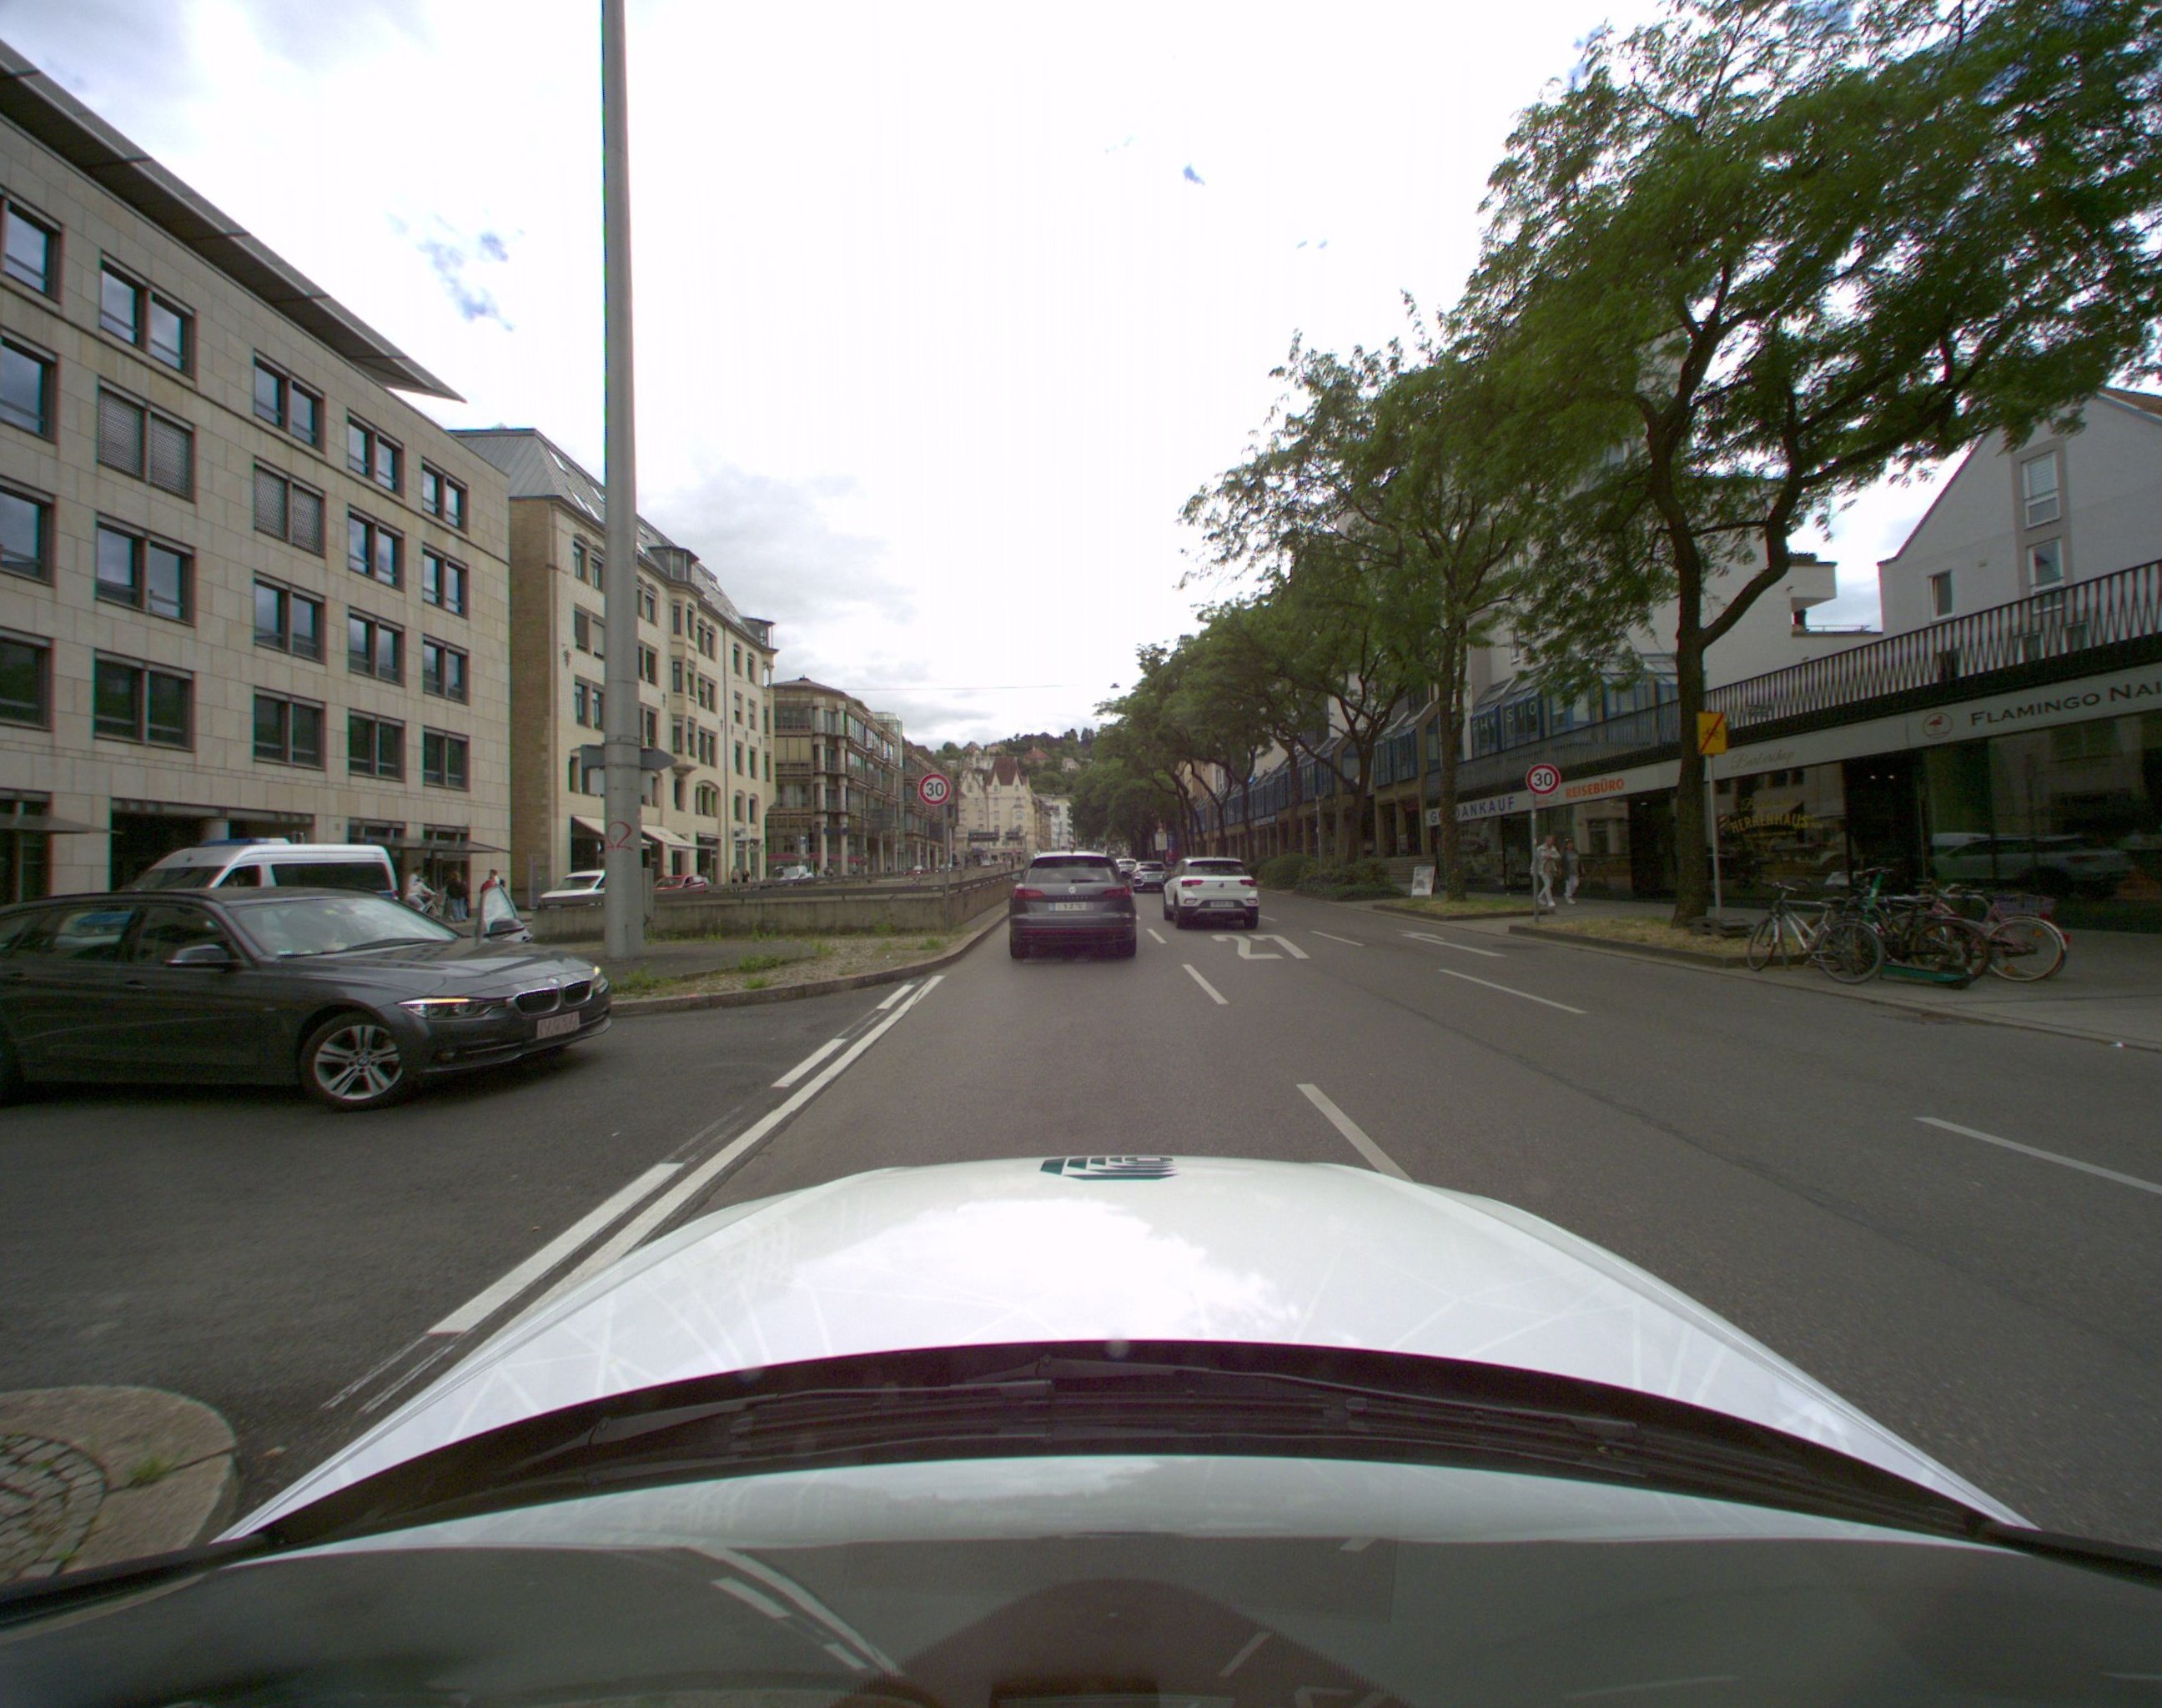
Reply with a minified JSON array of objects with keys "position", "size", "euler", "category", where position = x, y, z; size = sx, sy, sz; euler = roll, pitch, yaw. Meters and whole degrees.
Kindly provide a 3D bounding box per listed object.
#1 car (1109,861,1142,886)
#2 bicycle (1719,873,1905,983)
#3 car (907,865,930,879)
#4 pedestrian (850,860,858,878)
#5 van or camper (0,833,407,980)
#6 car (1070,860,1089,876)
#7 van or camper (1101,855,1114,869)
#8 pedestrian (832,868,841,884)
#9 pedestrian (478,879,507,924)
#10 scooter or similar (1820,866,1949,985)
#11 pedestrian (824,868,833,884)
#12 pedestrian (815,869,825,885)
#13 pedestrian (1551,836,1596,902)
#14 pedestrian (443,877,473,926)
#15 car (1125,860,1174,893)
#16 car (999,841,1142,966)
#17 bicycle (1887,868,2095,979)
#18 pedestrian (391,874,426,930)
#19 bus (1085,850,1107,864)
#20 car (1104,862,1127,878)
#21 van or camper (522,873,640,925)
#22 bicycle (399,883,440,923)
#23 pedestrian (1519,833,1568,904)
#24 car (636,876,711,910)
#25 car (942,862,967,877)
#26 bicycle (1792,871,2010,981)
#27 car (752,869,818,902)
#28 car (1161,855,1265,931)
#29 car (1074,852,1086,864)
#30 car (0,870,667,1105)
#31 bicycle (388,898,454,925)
[{"position":[2.825,1.232,52.435],"size":[1.826,1.517,3.766],"euler":[-2,-1,0],"category":"car"},{"position":[8.533,0.807,9.625],"size":[0.488,1.132,1.843],"euler":[-2,-1,-1],"category":"bicycle"},{"position":[-18.686,2.048,93.973],"size":[1.990,1.464,4.878],"euler":[-2,0,-4],"category":"car"},{"position":[-23.704,1.564,84.995],"size":[0.530,1.793,0.694],"euler":[3,-1,0],"category":"pedestrian"},{"position":[-19.642,1.032,18.751],"size":[2.992,2.726,6.245],"euler":[-2,0,0],"category":"van or camper"},{"position":[-0.182,1.488,88.506],"size":[1.827,1.567,3.763],"euler":[-3,-1,-2],"category":"car"},{"position":[5.964,1.852,186.799],"size":[2.620,3.178,5.800],"euler":[-2,0,-1],"category":"van or camper"},{"position":[-24.364,2.179,81.047],"size":[0.699,1.544,0.844],"euler":[-2,-1,-8],"category":"pedestrian"},{"position":[-21.573,1.732,29.871],"size":[0.550,1.577,0.680],"euler":[-2,-1,-2],"category":"pedestrian"},{"position":[9.055,0.770,9.212],"size":[0.306,1.251,0.992],"euler":[-2,-1,-13],"category":"scooter or similar"},{"position":[-25.118,2.209,80.924],"size":[0.699,1.544,0.844],"euler":[-2,-1,-8],"category":"pedestrian"},{"position":[-25.880,2.245,80.761],"size":[0.699,1.544,0.844],"euler":[-2,-1,-8],"category":"pedestrian"},{"position":[12.633,0.387,20.923],"size":[0.595,1.629,0.756],"euler":[-3,-1,-6],"category":"pedestrian"},{"position":[-22.895,1.729,29.937],"size":[0.550,1.753,0.680],"euler":[-2,-1,-2],"category":"pedestrian"},{"position":[3.169,1.036,38.298],"size":[1.828,1.432,4.144],"euler":[-1,0,-2],"category":"car"},{"position":[-0.162,0.719,13.820],"size":[1.964,1.695,4.223],"euler":[-3,0,-1],"category":"car"},{"position":[10.390,0.741,9.395],"size":[0.488,1.132,1.688],"euler":[-2,-1,1],"category":"bicycle"},{"position":[-23.250,1.657,28.177],"size":[0.614,1.875,0.680],"euler":[-2,-1,-2],"category":"pedestrian"},{"position":[4.141,0.884,218.772],"size":[3.829,3.532,17.281],"euler":[-2,0,7],"category":"bus"},{"position":[3.115,1.418,74.338],"size":[1.827,1.363,3.765],"euler":[-3,-1,-1],"category":"car"},{"position":[-19.302,1.688,31.693],"size":[1.862,1.751,4.484],"euler":[-2,0,-1],"category":"van or camper"},{"position":[-21.696,1.591,26.713],"size":[0.630,1.260,0.844],"euler":[-2,-1,-4],"category":"bicycle"},{"position":[11.777,0.369,20.764],"size":[0.595,1.754,0.939],"euler":[-3,0,-6],"category":"pedestrian"},{"position":[-19.184,1.803,38.504],"size":[1.782,1.406,3.580],"euler":[-2,0,-2],"category":"car"},{"position":[-15.238,1.860,98.097],"size":[1.986,1.585,4.890],"euler":[-2,0,2],"category":"car"},{"position":[9.504,0.778,9.556],"size":[0.489,1.132,1.883],"euler":[-2,-1,-6],"category":"bicycle"},{"position":[-15.663,1.619,43.369],"size":[1.913,1.527,4.538],"euler":[-2,0,-2],"category":"car"},{"position":[2.935,0.838,18.914],"size":[1.791,1.545,3.935],"euler":[-1,-1,0],"category":"car"},{"position":[-0.158,0.688,139.565],"size":[1.825,1.874,4.871],"euler":[-3,-1,1],"category":"car"},{"position":[-5.965,0.938,6.371],"size":[4.525,1.458,1.885],"euler":[-2,-1,7],"category":"car"},{"position":[-21.687,1.879,26.803],"size":[0.630,0.762,1.956],"euler":[-2,0,-4],"category":"bicycle"}]
